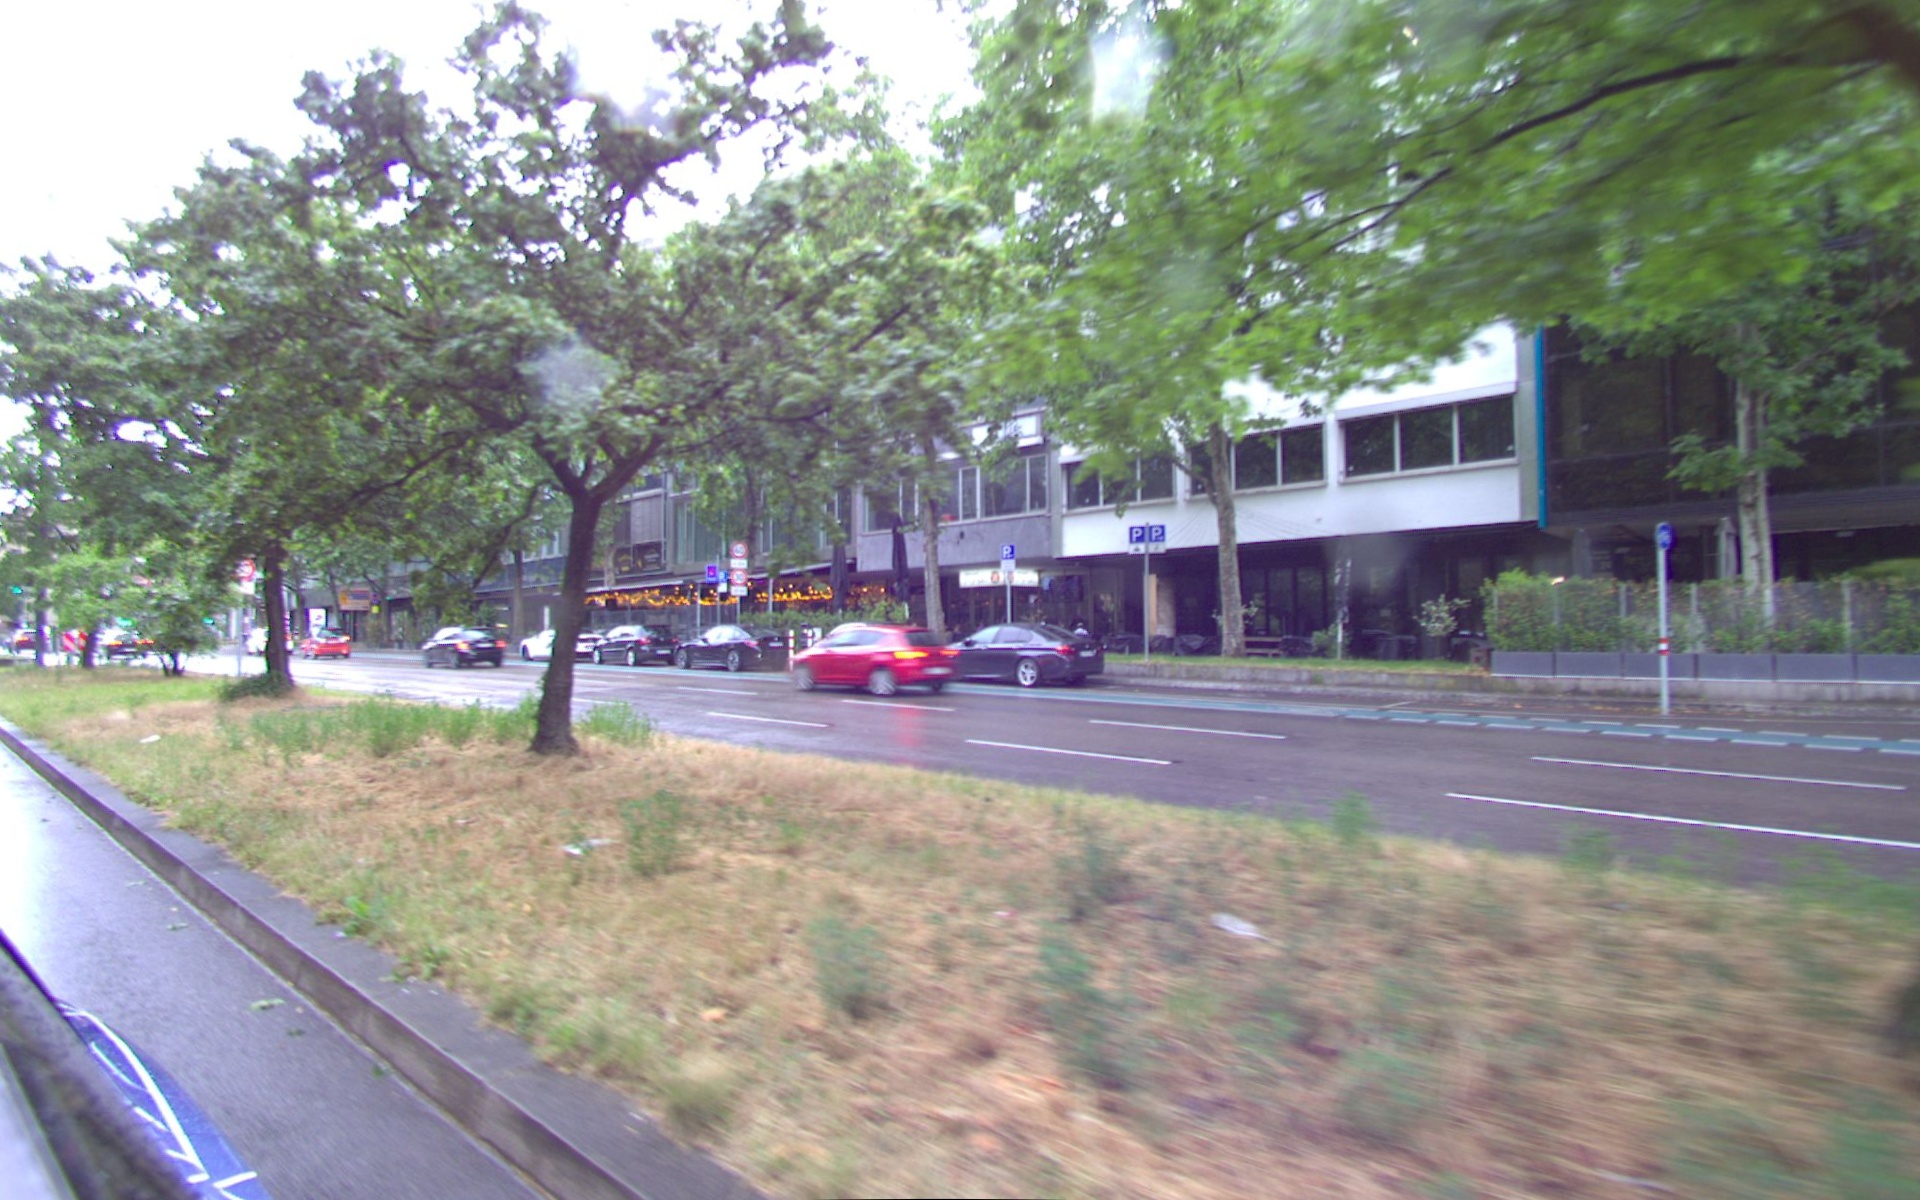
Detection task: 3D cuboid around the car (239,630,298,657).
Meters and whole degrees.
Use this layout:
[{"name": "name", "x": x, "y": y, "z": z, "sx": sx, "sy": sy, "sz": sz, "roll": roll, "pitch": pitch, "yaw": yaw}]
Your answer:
[{"name": "car", "x": -37.688, "y": 2.378, "z": 55.134, "sx": 3.642, "sy": 1.440, "sz": 1.824, "roll": -3, "pitch": -3, "yaw": 42}]

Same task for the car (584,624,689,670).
[{"name": "car", "x": -11.563, "y": 1.659, "z": 36.035, "sx": 3.999, "sy": 1.519, "sz": 1.817, "roll": -3, "pitch": -3, "yaw": 42}]

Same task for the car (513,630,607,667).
[{"name": "car", "x": -15.769, "y": 1.912, "z": 39.759, "sx": 4.682, "sy": 1.364, "sz": 1.542, "roll": -3, "pitch": -2, "yaw": 42}]

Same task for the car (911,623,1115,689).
[{"name": "car", "x": 1.157, "y": 1.299, "z": 24.070, "sx": 4.903, "sy": 1.420, "sz": 1.675, "roll": -3, "pitch": -3, "yaw": 42}]

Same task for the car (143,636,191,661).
[{"name": "car", "x": -49.961, "y": 3.036, "z": 63.772, "sx": 4.095, "sy": 1.487, "sz": 1.730, "roll": -2, "pitch": -3, "yaw": 43}]

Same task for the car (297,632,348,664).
[{"name": "car", "x": -30.503, "y": 2.286, "z": 48.386, "sx": 2.732, "sy": 1.474, "sz": 1.477, "roll": -2, "pitch": -3, "yaw": 44}]

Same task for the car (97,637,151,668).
[{"name": "car", "x": -44.463, "y": 2.749, "z": 53.822, "sx": 4.096, "sy": 1.487, "sz": 1.729, "roll": -1, "pitch": 0, "yaw": 43}]

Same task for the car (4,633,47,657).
[{"name": "car", "x": -71.657, "y": 3.455, "z": 77.542, "sx": 5.105, "sy": 1.780, "sz": 1.817, "roll": -3, "pitch": -3, "yaw": 40}]

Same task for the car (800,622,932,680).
[{"name": "car", "x": -2.601, "y": 1.369, "z": 27.514, "sx": 3.459, "sy": 1.480, "sz": 1.675, "roll": -3, "pitch": -3, "yaw": 42}]

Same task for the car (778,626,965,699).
[{"name": "car", "x": -1.988, "y": 1.313, "z": 21.775, "sx": 4.183, "sy": 1.404, "sz": 1.597, "roll": -3, "pitch": -3, "yaw": 42}]

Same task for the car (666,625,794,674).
[{"name": "car", "x": -7.265, "y": 1.552, "z": 31.763, "sx": 4.455, "sy": 1.420, "sz": 1.675, "roll": -3, "pitch": -3, "yaw": 42}]

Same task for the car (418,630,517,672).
[{"name": "car", "x": -17.590, "y": 1.791, "z": 36.092, "sx": 3.999, "sy": 1.400, "sz": 1.824, "roll": -3, "pitch": -3, "yaw": 42}]

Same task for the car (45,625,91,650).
[{"name": "car", "x": -57.908, "y": 2.440, "z": 65.667, "sx": 4.831, "sy": 1.585, "sz": 1.716, "roll": -3, "pitch": -3, "yaw": 43}]
